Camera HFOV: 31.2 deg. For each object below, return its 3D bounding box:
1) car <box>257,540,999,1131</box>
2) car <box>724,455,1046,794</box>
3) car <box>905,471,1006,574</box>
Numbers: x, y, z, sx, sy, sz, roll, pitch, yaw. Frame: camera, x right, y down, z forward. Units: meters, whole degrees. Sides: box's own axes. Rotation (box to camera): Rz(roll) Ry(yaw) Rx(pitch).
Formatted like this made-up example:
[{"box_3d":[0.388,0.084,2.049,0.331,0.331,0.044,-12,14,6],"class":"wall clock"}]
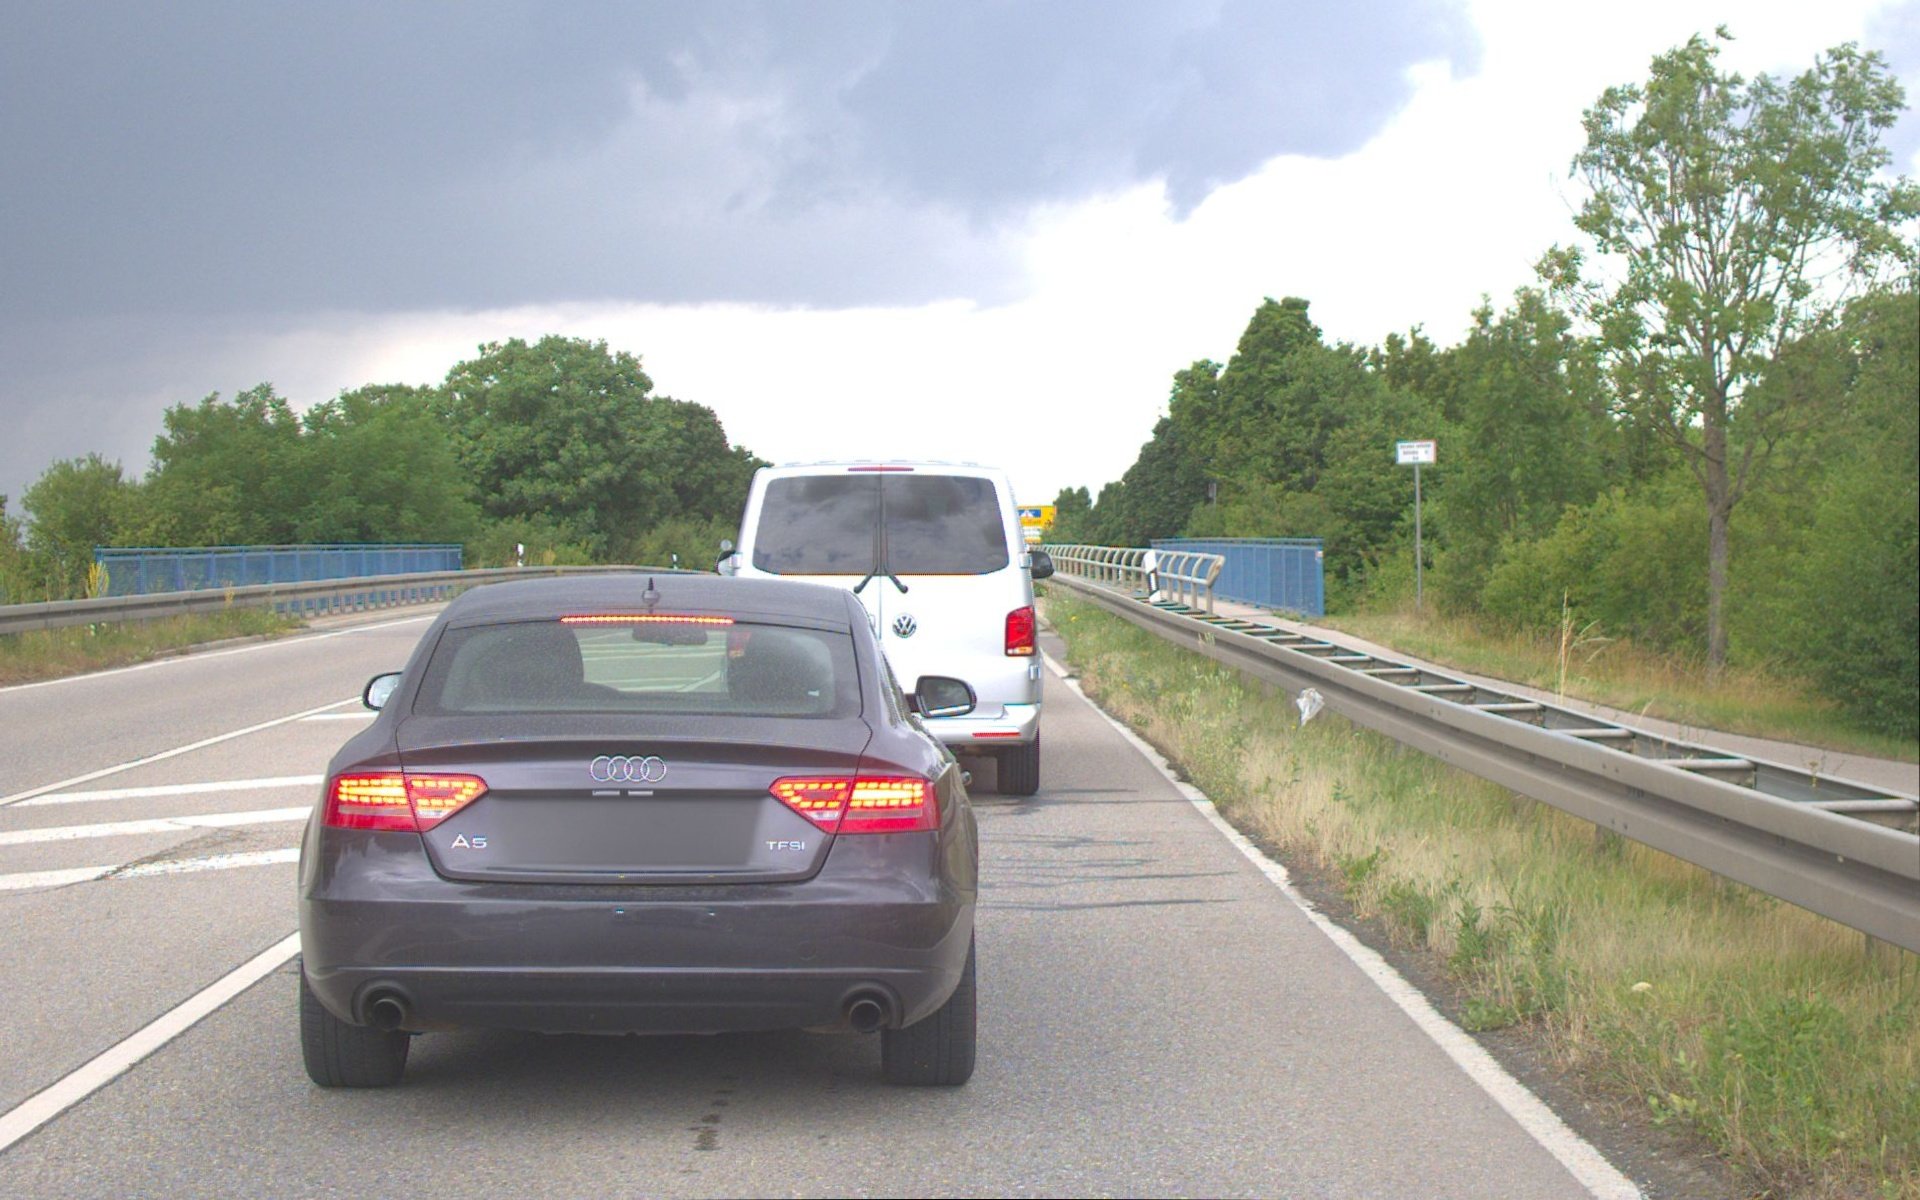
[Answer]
[{"box_3d":[-0.830,0.553,10.343,1.785,1.419,4.000,1,1,-1],"class":"car"},{"box_3d":[-0.444,0.118,21.256,1.785,1.883,4.000,1,1,-1],"class":"car"},{"box_3d":[-0.117,-1.943,86.413,2.447,2.495,5.041,1,1,0],"class":"car"}]
